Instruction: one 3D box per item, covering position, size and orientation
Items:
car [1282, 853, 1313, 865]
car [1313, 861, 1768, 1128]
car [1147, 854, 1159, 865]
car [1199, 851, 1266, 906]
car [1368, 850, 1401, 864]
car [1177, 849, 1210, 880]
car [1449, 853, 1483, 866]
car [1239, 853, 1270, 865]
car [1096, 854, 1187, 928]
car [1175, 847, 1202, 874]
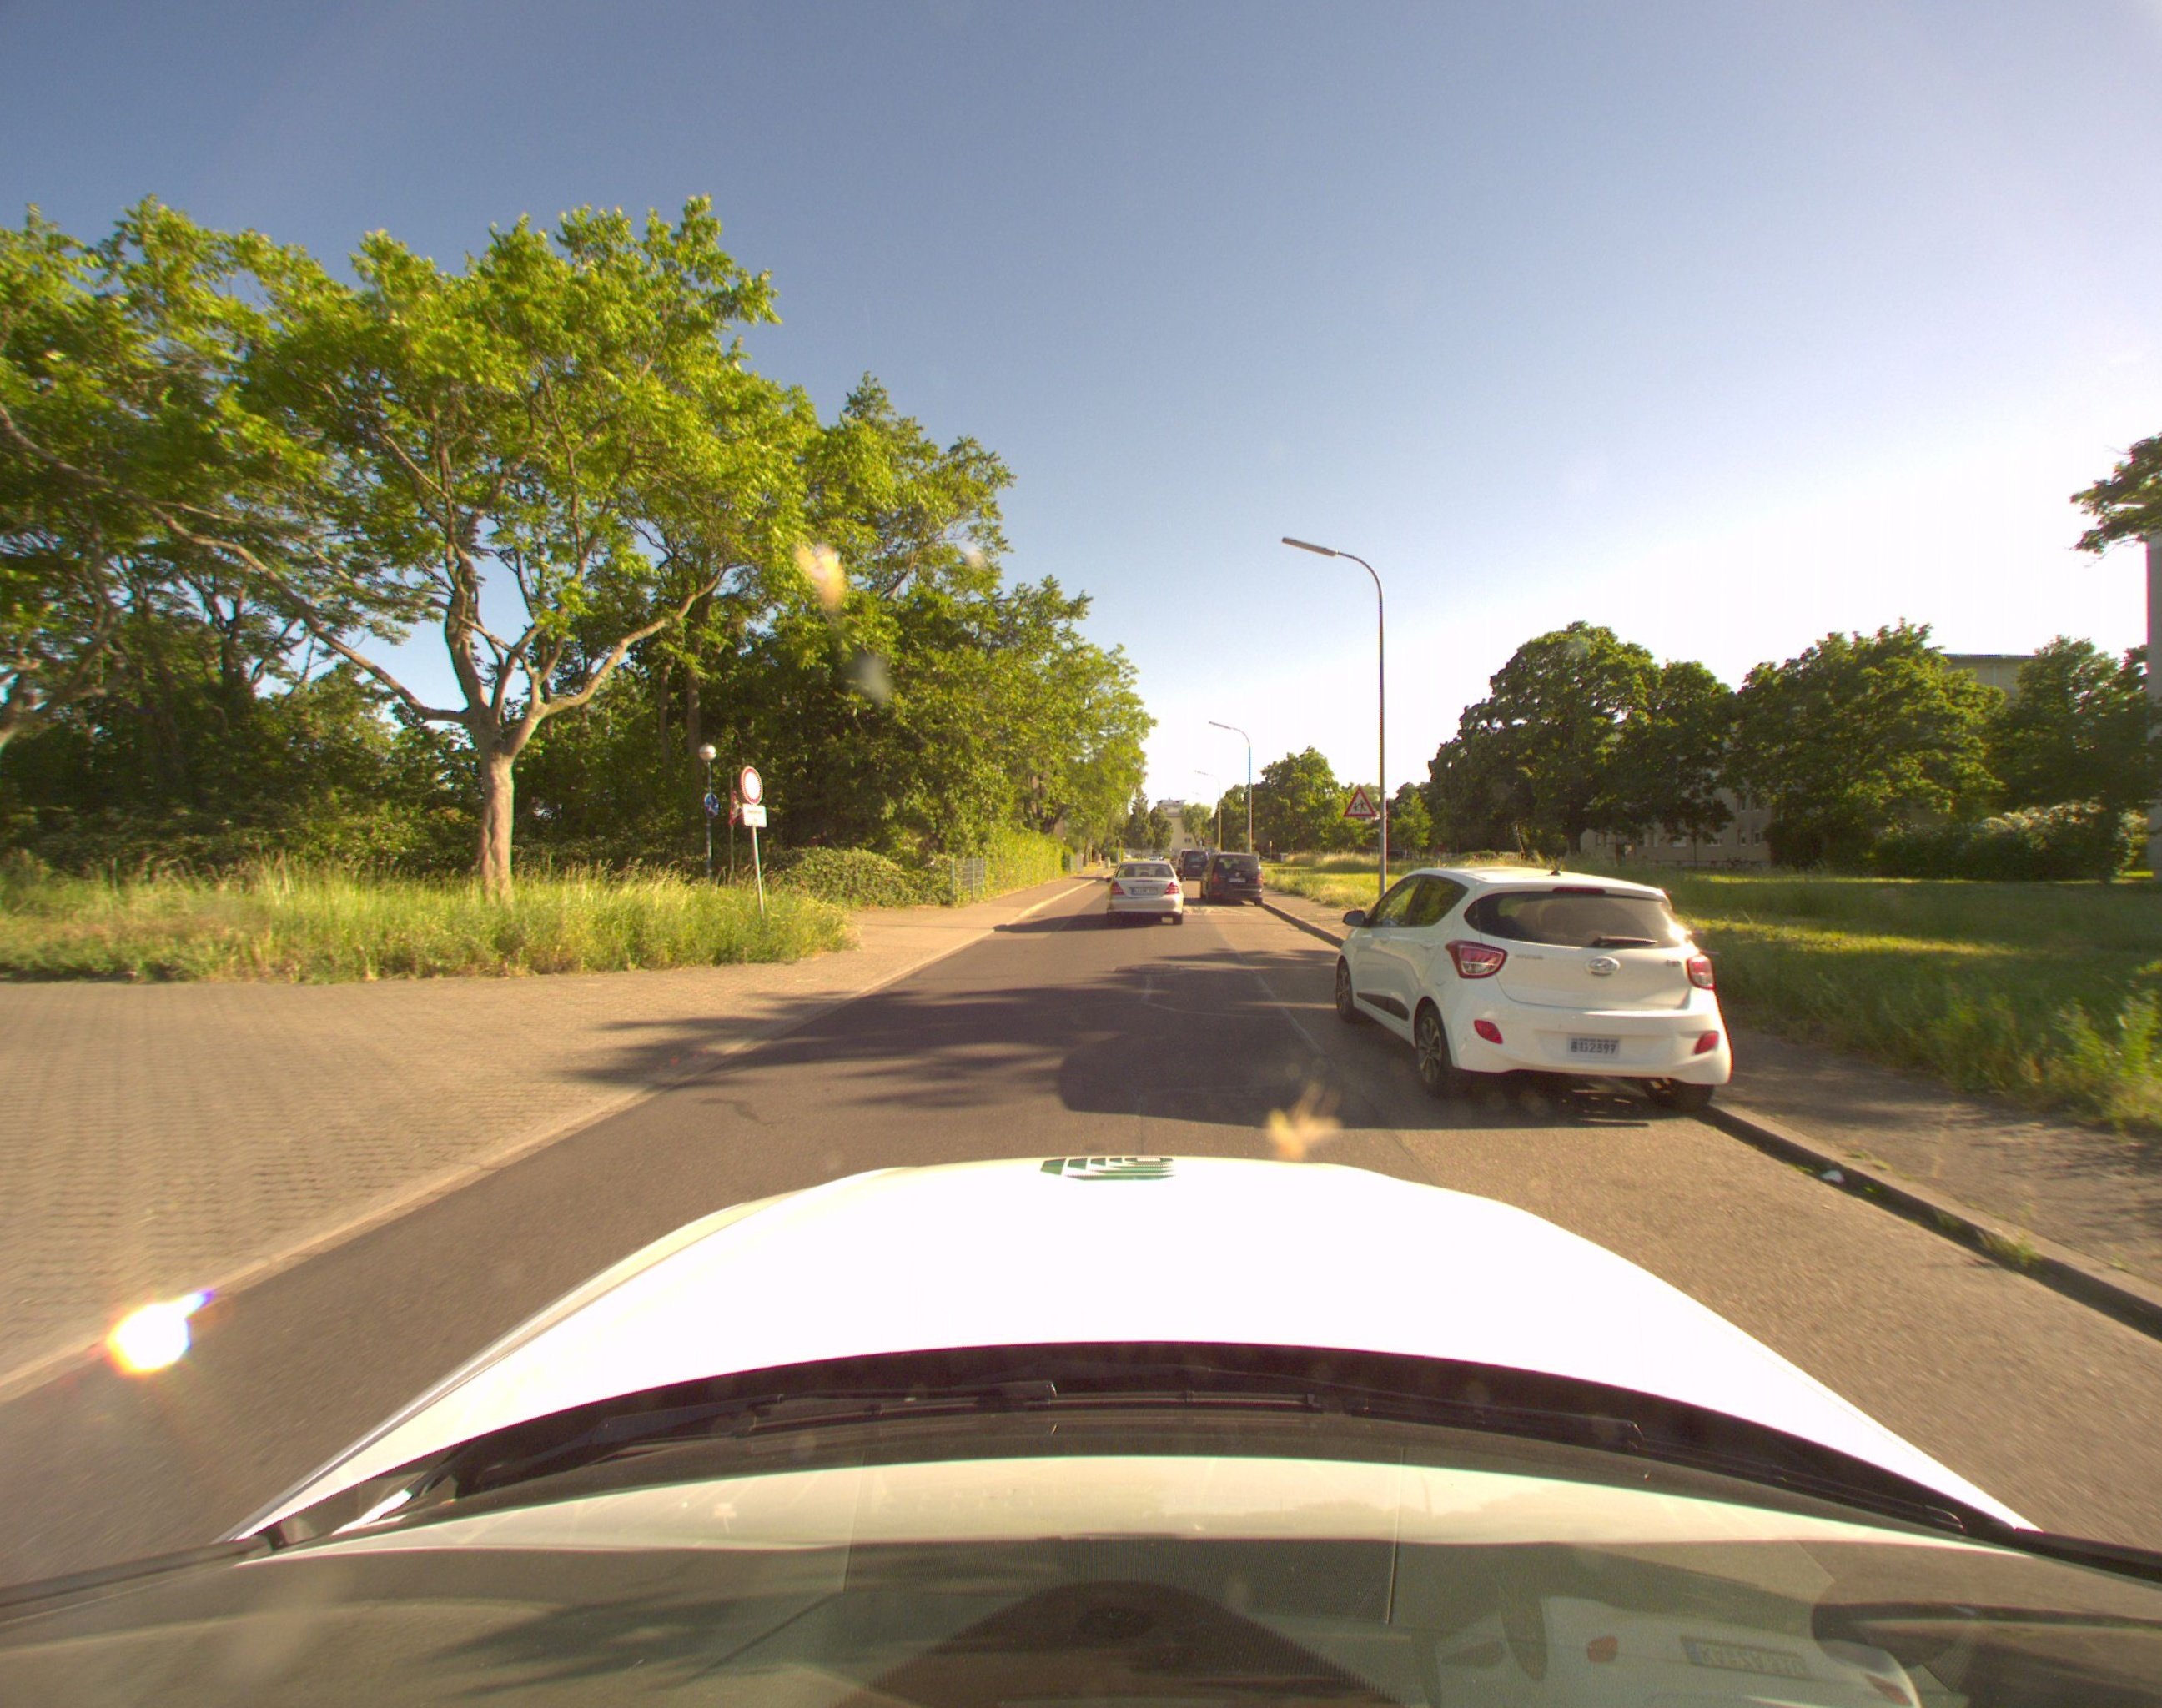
[{"bbox_3d":[27.469,0.656,103.294,3.672,1.471,1.708,-1,-2,20],"label":"car"},{"bbox_3d":[3.192,0.825,6.592,1.714,1.479,3.743,1,0,3],"label":"car"},{"bbox_3d":[11.795,0.944,133.843,1.876,1.728,4.004,0,-2,5],"label":"car"},{"bbox_3d":[4.877,0.738,26.717,1.691,1.610,4.004,0,0,4],"label":"car"},{"bbox_3d":[37.410,0.408,100.379,3.672,1.618,1.708,-1,-2,20],"label":"car"},{"bbox_3d":[6.687,0.591,48.571,1.691,1.759,3.855,2,0,4],"label":"car"},{"bbox_3d":[49.153,0.729,103.973,3.676,1.618,1.706,0,-2,14],"label":"car"},{"bbox_3d":[22.343,0.692,104.636,3.672,1.441,1.708,-1,-2,20],"label":"car"},{"bbox_3d":[1.547,0.783,19.220,1.806,1.463,4.371,-1,0,8],"label":"car"},{"bbox_3d":[7.716,0.463,58.895,1.691,1.851,3.855,2,0,4],"label":"car"}]
